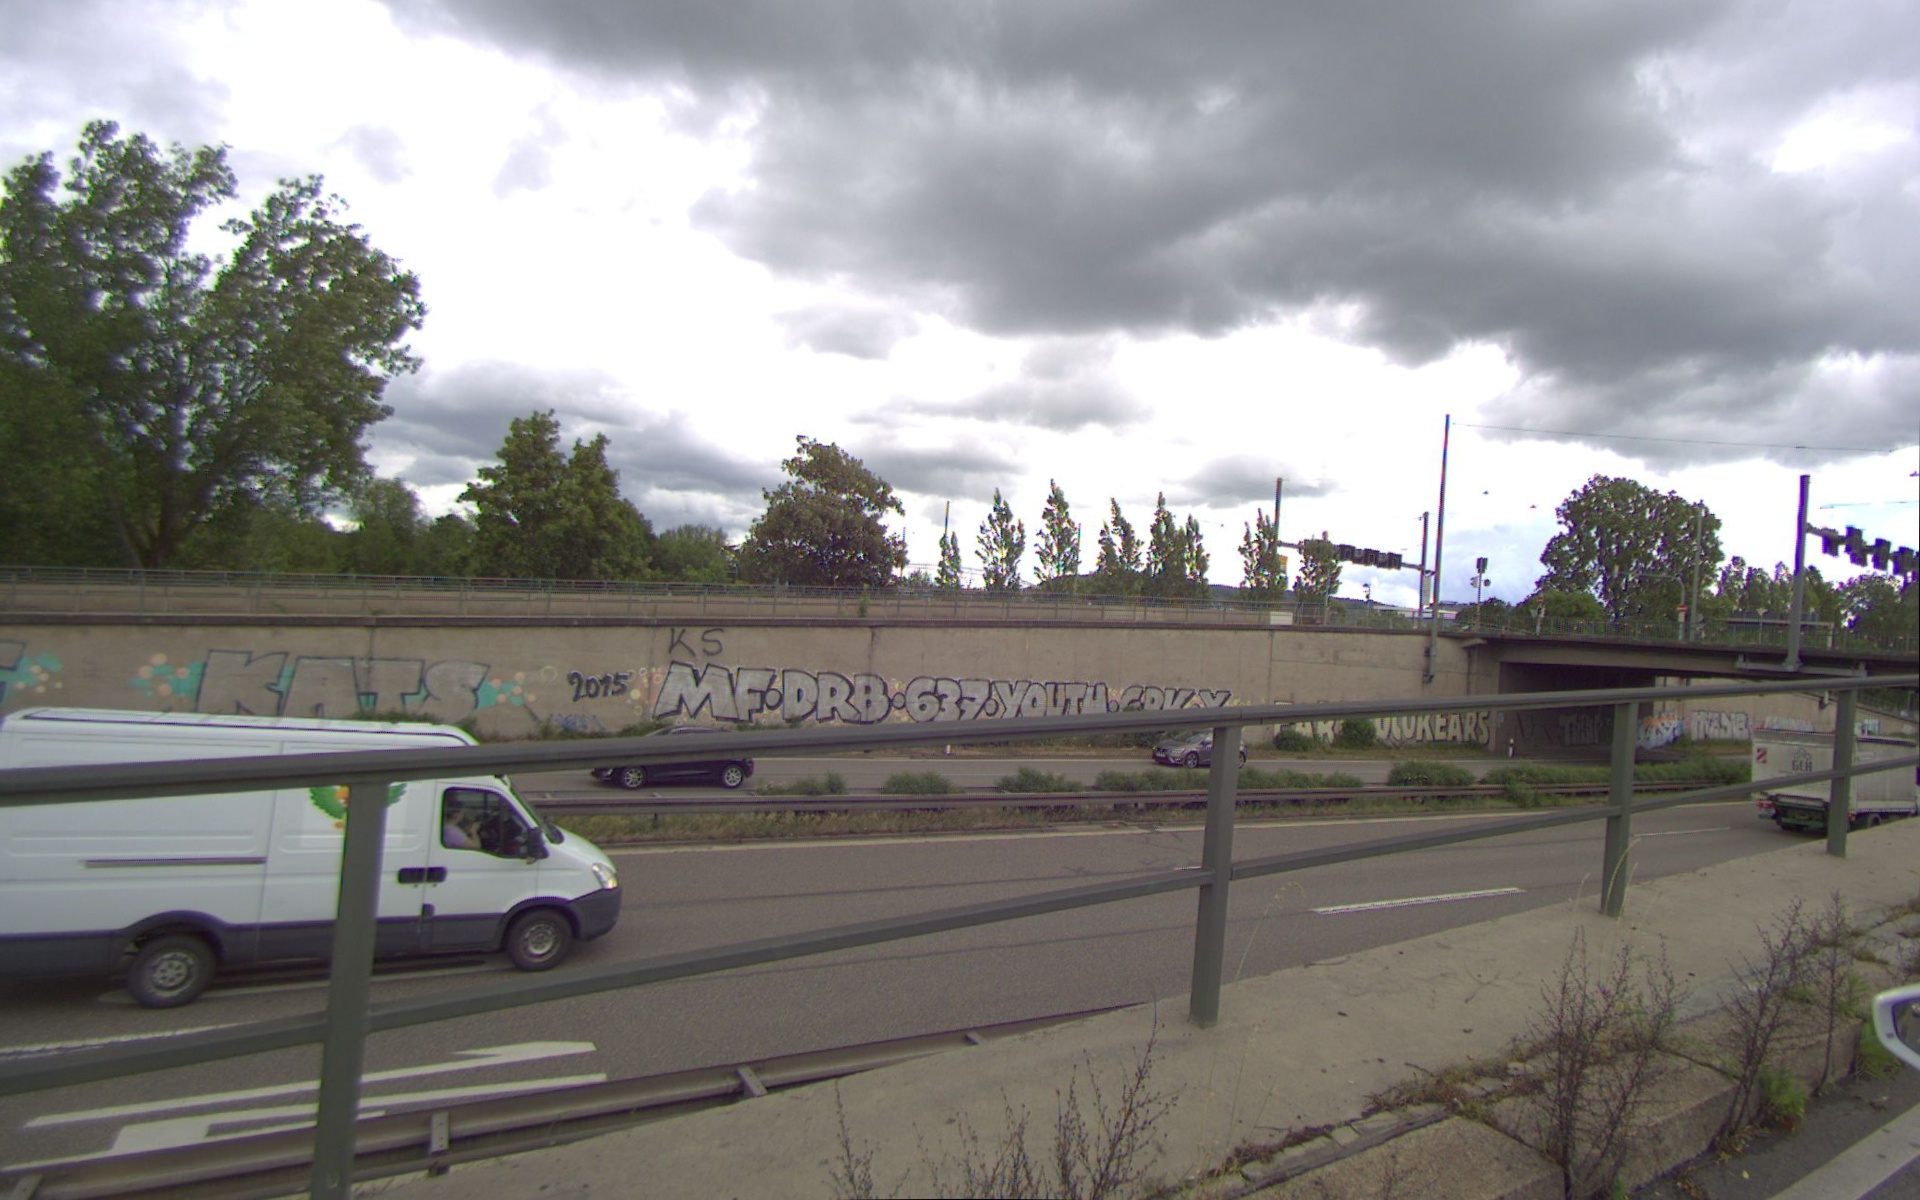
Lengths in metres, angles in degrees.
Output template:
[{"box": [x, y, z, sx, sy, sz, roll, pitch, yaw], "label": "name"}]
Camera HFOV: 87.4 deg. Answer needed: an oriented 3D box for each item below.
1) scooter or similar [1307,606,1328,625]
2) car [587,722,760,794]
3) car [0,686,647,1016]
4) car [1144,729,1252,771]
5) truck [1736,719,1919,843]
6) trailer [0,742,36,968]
[{"box": [22.554, 0.964, 63.419, 1.403, 1.108, 0.539, 4, -2, -37], "label": "scooter or similar"}, {"box": [-7.209, 3.977, 25.357, 3.815, 1.520, 1.656, 6, -4, -30], "label": "car"}, {"box": [-6.740, 2.504, 11.005, 5.866, 2.719, 1.984, 5, -2, -30], "label": "car"}, {"box": [9.382, 5.885, 39.463, 4.065, 1.393, 1.702, 6, -4, -31], "label": "car"}, {"box": [28.275, 5.681, 32.262, 7.357, 3.335, 2.733, 5, -3, -30], "label": "truck"}, {"box": [-10.883, 2.397, 8.630, 3.892, 2.157, 1.720, 5, -2, -30], "label": "trailer"}]
